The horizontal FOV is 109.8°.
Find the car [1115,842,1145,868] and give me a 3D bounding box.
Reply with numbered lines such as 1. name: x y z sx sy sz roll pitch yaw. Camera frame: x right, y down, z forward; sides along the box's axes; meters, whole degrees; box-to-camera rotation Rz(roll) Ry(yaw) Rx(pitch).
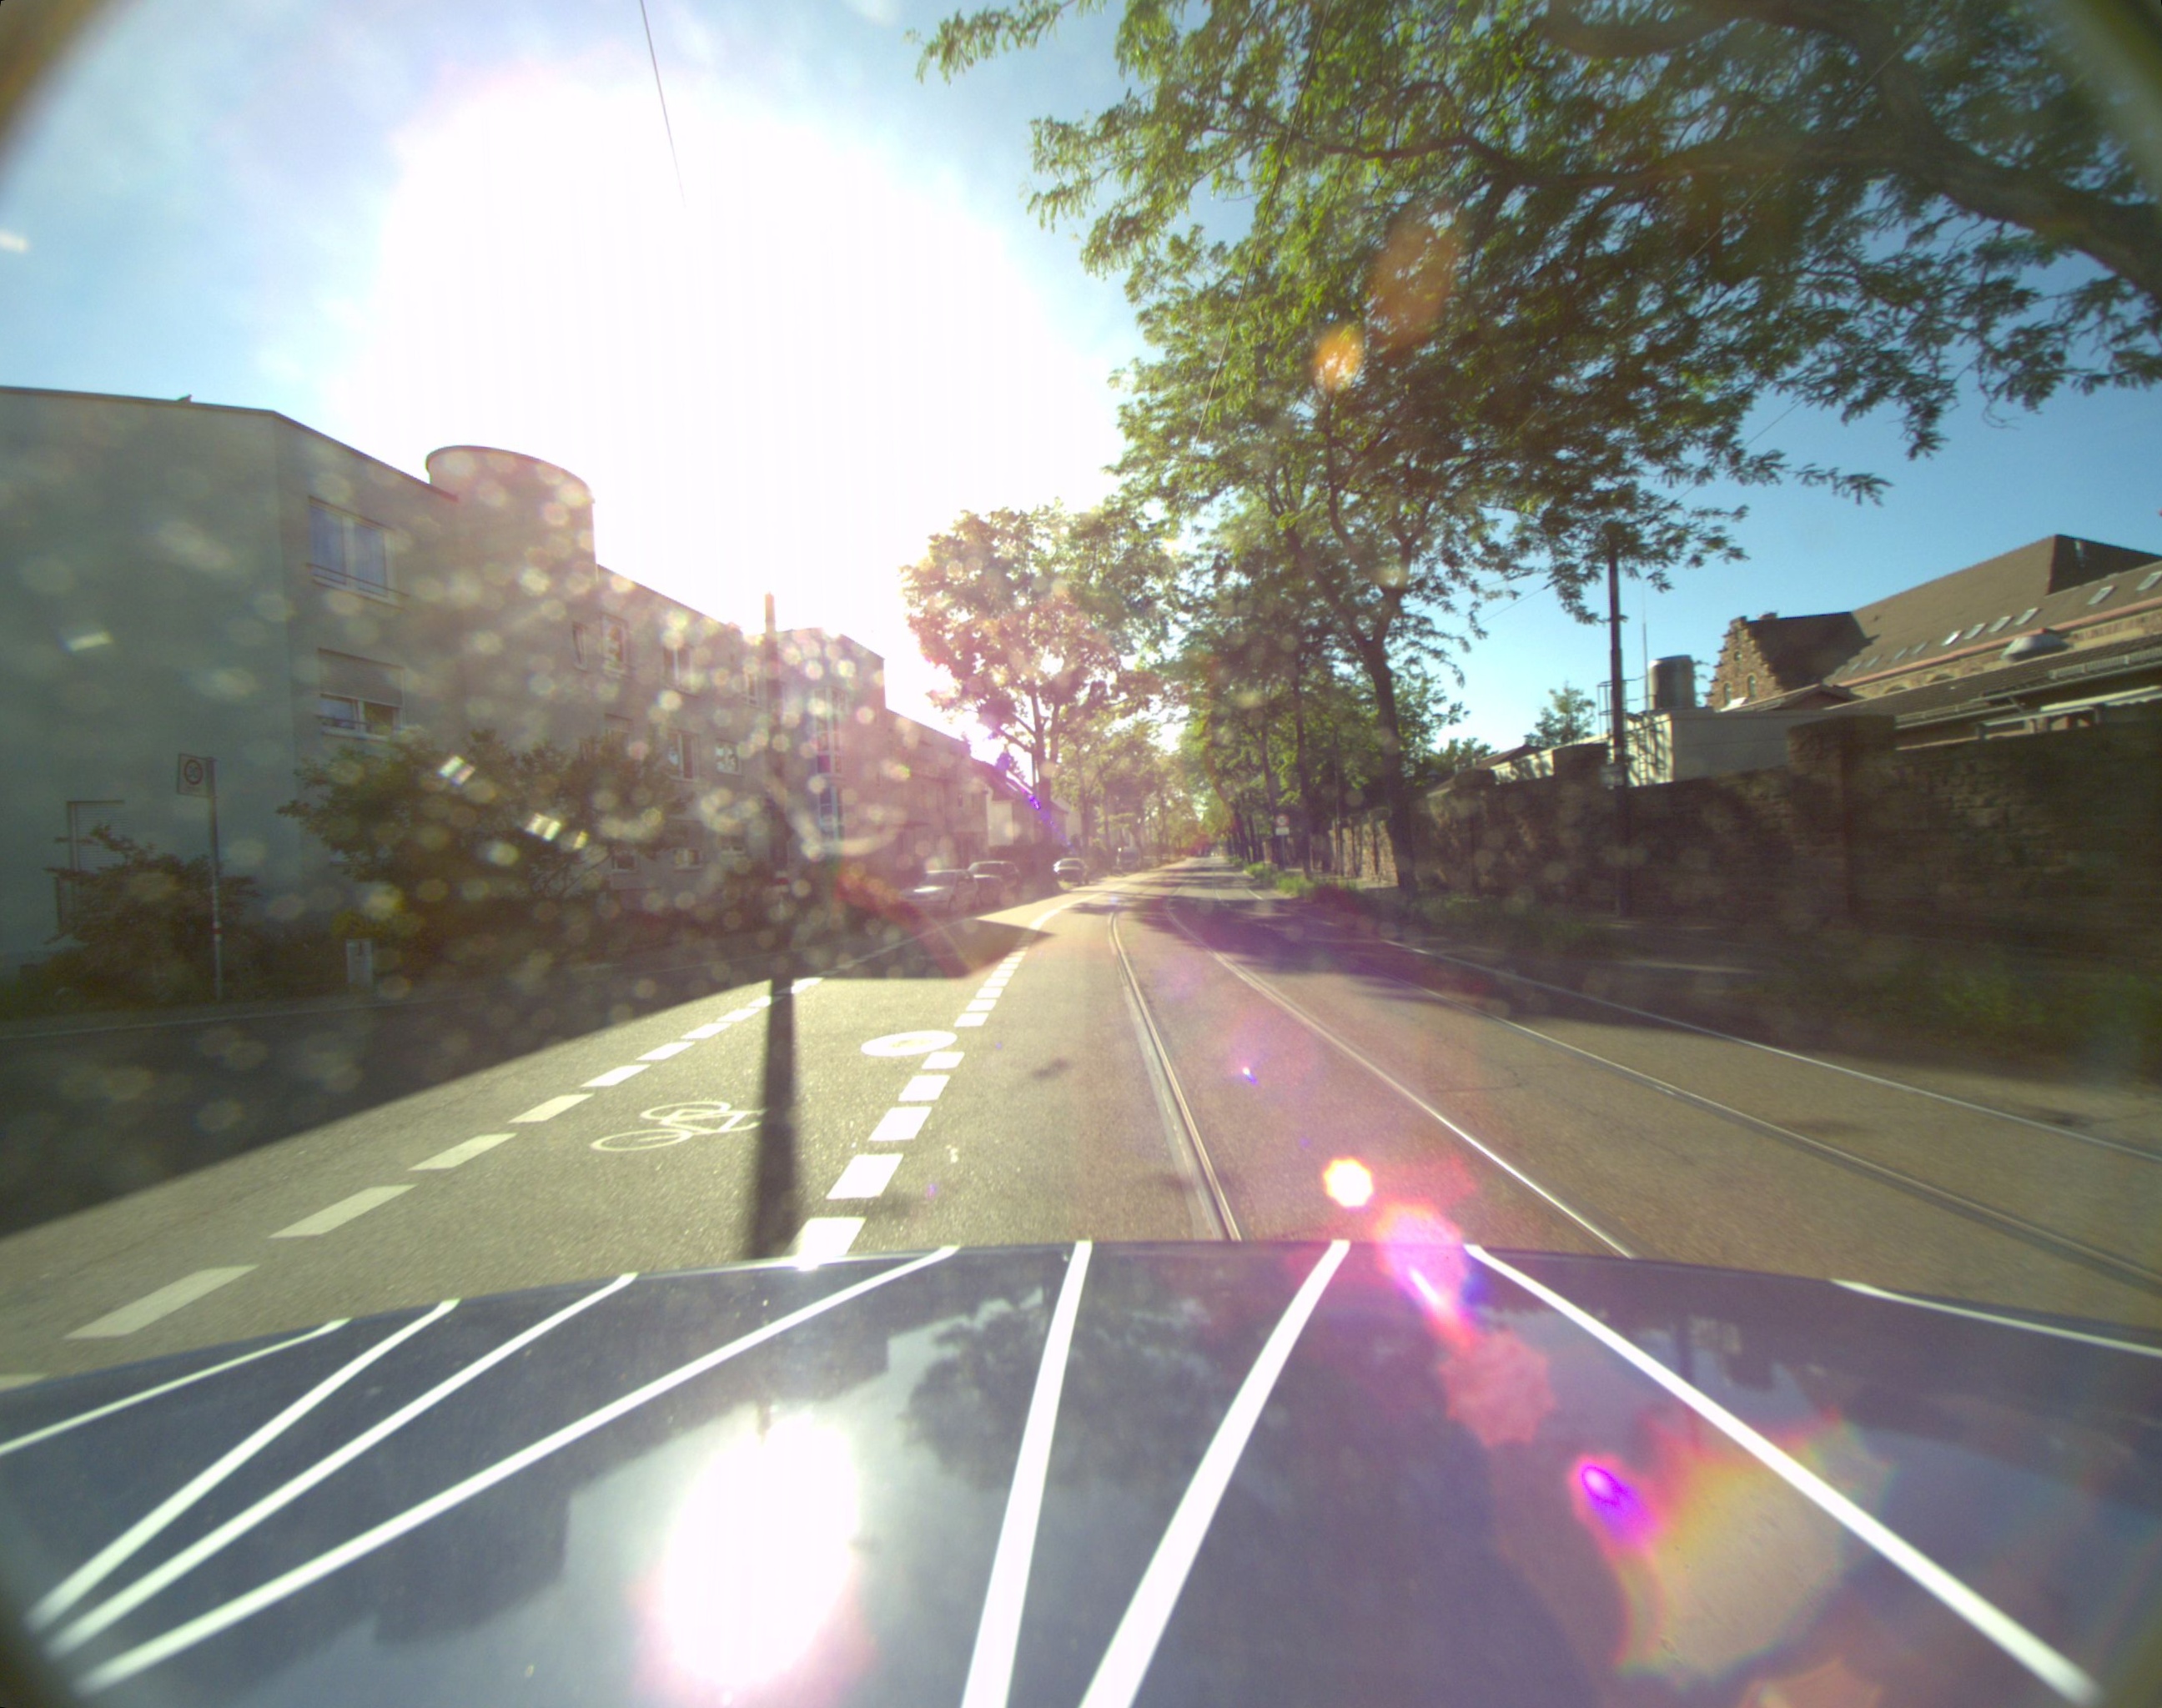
1. car: 5.160 0.049 79.348 2.295 2.575 5.722 -3 1 10

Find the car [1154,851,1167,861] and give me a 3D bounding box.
1. car: 13.062 0.289 124.266 1.787 1.368 3.657 -3 1 10

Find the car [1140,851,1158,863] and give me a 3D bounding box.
1. car: 9.021 0.389 100.493 1.662 1.527 4.004 -2 0 14

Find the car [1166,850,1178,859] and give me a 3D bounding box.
1. car: 17.328 0.134 145.240 1.997 1.411 4.001 -3 3 10

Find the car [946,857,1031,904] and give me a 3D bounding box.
1. car: -3.578 0.984 30.426 1.997 1.607 4.604 -2 1 11

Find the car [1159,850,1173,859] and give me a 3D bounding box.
1. car: 14.932 0.054 133.495 1.997 1.474 4.003 -3 0 10

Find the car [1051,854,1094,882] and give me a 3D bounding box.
1. car: -0.469 0.830 47.617 1.879 1.509 4.651 -3 1 8

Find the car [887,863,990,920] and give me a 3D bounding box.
1. car: -4.509 1.146 24.750 1.741 1.487 4.532 -3 1 10
